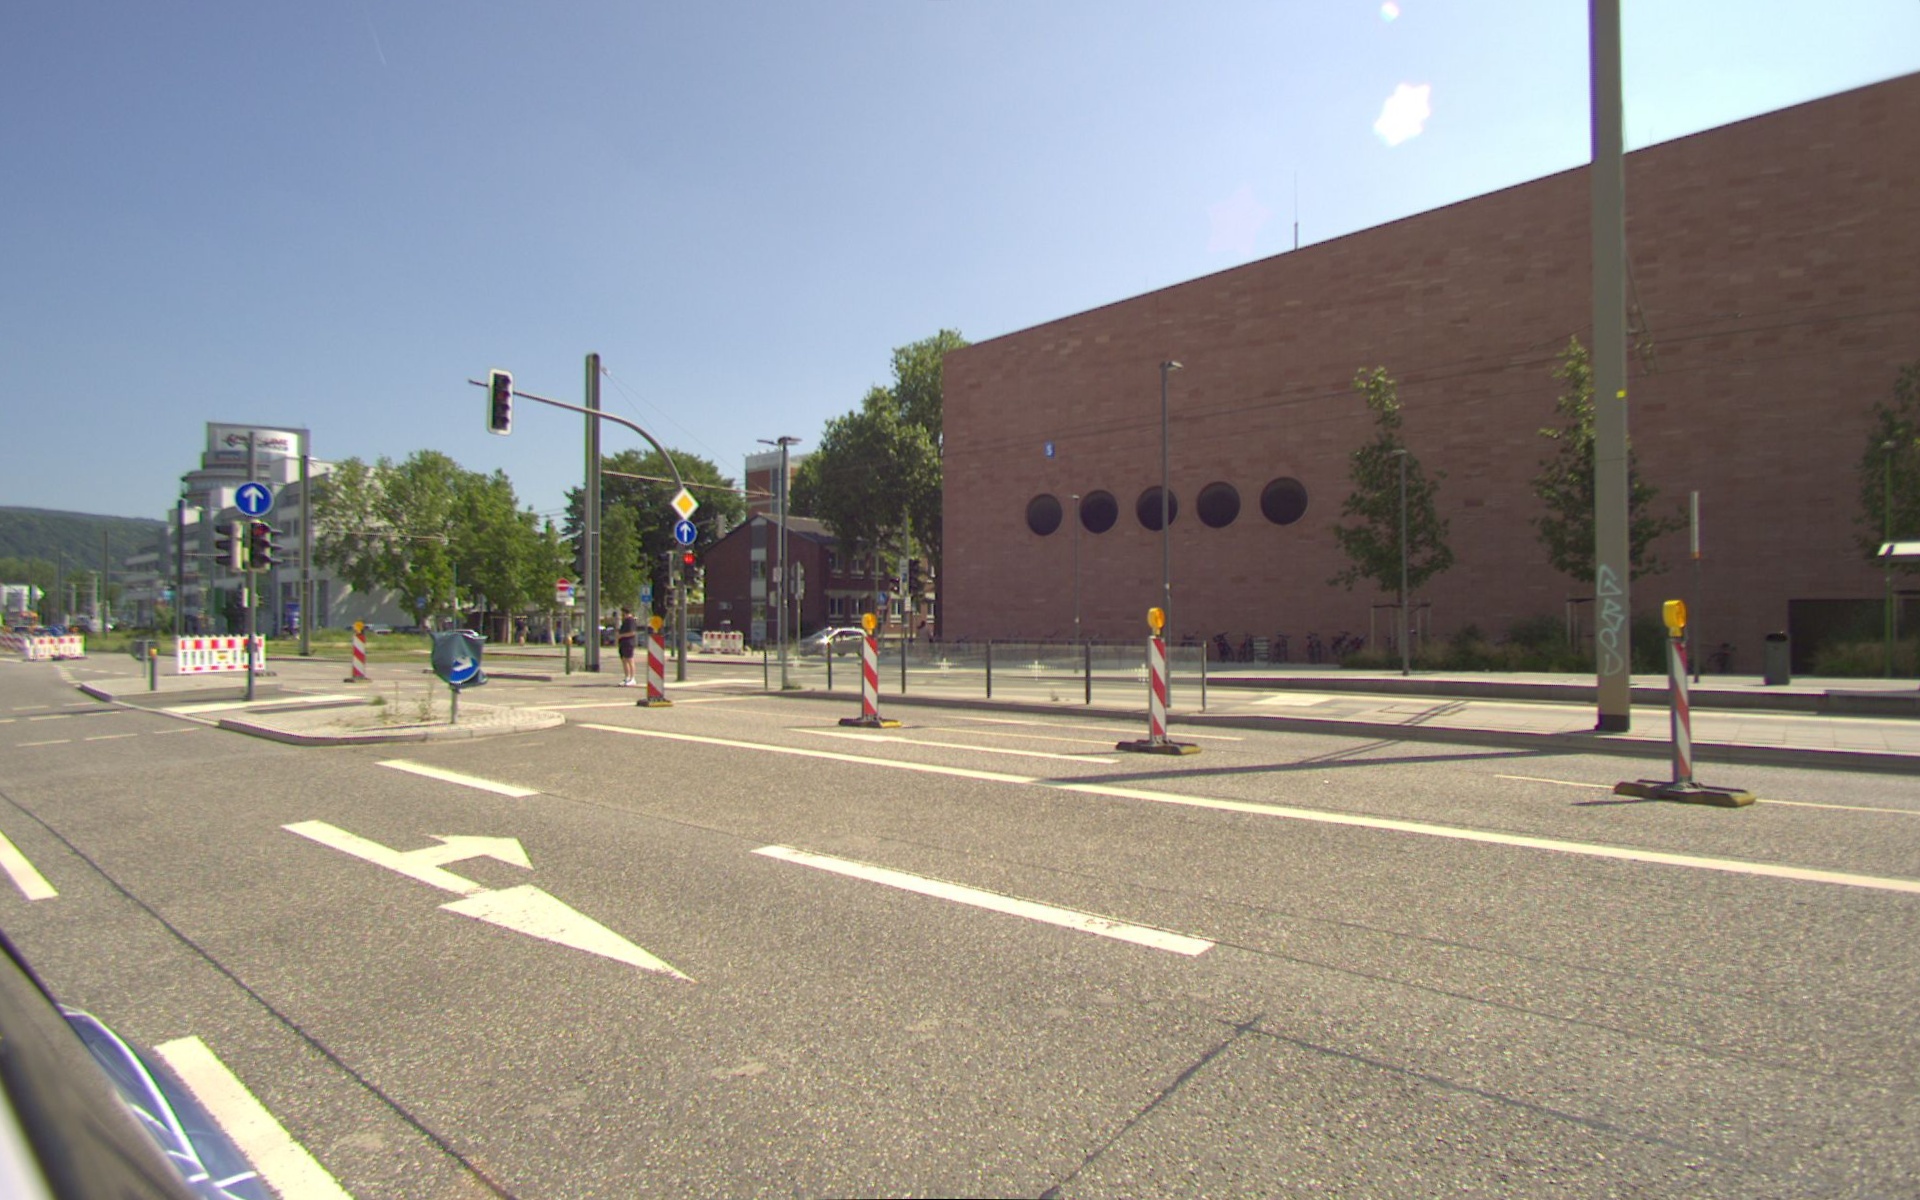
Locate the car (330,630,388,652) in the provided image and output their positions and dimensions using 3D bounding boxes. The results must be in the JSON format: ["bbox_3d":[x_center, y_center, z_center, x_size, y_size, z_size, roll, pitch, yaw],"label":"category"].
[{"bbox_3d":[-62.839,4.307,105.894,4.988,2.196,2.121,0,-1,-22],"label":"car"}]

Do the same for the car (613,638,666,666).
[{"bbox_3d":[-21.981,3.524,69.308,3.938,1.774,1.680,-1,0,42],"label":"car"}]

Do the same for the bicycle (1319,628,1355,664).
[{"bbox_3d":[13.251,1.605,35.555,0.745,1.221,1.868,-2,-1,34],"label":"bicycle"}]

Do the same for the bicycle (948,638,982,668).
[{"bbox_3d":[0.224,2.253,43.412,0.537,1.221,2.036,-1,-2,30],"label":"bicycle"}]

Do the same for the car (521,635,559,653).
[{"bbox_3d":[-39.987,4.190,96.341,3.630,1.603,1.752,-2,0,36],"label":"car"}]

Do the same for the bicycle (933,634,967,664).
[{"bbox_3d":[-0.420,2.105,43.816,0.537,1.221,2.036,-1,-2,30],"label":"bicycle"}]

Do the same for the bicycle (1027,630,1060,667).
[{"bbox_3d":[3.429,1.968,41.368,0.537,1.464,2.037,-2,-2,30],"label":"bicycle"}]

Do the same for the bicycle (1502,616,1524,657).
[{"bbox_3d":[17.523,1.139,32.064,0.537,1.221,2.037,-2,-1,30],"label":"bicycle"}]

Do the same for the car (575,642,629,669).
[{"bbox_3d":[-25.902,3.986,73.131,4.529,1.774,1.680,-1,0,41],"label":"car"}]

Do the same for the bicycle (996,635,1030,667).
[{"bbox_3d":[2.229,2.112,42.164,0.537,1.221,2.037,-2,-1,29],"label":"bicycle"}]

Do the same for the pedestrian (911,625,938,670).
[{"bbox_3d":[-1.277,1.719,36.663,0.784,1.574,0.930,-1,-1,8],"label":"pedestrian"}]

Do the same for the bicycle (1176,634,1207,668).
[{"bbox_3d":[8.787,1.924,38.380,0.537,1.221,2.037,-2,-1,30],"label":"bicycle"}]

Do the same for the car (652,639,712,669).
[{"bbox_3d":[-18.150,3.460,65.903,4.299,1.774,1.680,-1,0,41],"label":"car"}]

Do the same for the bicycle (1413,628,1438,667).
[{"bbox_3d":[15.663,1.584,34.045,0.537,1.221,2.037,-2,-1,30],"label":"bicycle"}]

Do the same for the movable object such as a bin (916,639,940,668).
[{"bbox_3d":[-1.183,1.987,37.493,0.784,1.039,0.713,-1,-1,8],"label":"movable object such as a bin"}]

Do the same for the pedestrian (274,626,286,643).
[{"bbox_3d":[-63.487,3.199,94.483,0.805,1.588,0.827,1,-2,-44],"label":"pedestrian"}]

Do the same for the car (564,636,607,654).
[{"bbox_3d":[-31.501,3.786,85.121,4.265,1.468,1.522,-2,-2,41],"label":"car"}]

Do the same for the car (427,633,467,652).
[{"bbox_3d":[-46.920,3.886,92.511,3.630,1.603,1.752,-2,0,36],"label":"car"}]

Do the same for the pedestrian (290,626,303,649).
[{"bbox_3d":[-59.881,3.352,91.331,0.983,2.029,0.830,-2,-1,44],"label":"pedestrian"}]

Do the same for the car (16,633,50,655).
[{"bbox_3d":[-66.420,3.147,72.514,1.609,1.438,4.292,1,-1,-45],"label":"car"}]

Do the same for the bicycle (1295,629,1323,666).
[{"bbox_3d":[12.182,1.630,35.286,0.537,1.221,2.037,-2,-1,30],"label":"bicycle"}]

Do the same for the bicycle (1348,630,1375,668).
[{"bbox_3d":[13.925,1.687,35.075,0.537,1.221,2.037,-2,-1,30],"label":"bicycle"}]

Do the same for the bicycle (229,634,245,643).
[{"bbox_3d":[-94.525,5.047,132.308,0.438,1.198,1.629,-2,0,41],"label":"bicycle"}]

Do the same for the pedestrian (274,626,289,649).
[{"bbox_3d":[-60.690,3.362,90.504,0.910,2.029,0.972,-2,-1,43],"label":"pedestrian"}]

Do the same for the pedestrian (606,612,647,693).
[{"bbox_3d":[-7.812,1.210,23.688,0.645,1.847,0.661,0,-1,-45],"label":"pedestrian"}]

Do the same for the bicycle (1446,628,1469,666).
[{"bbox_3d":[16.578,1.545,33.681,0.537,1.221,2.036,-2,-2,30],"label":"bicycle"}]

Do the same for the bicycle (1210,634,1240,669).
[{"bbox_3d":[9.889,1.893,37.761,0.537,1.221,2.037,-2,-1,30],"label":"bicycle"}]

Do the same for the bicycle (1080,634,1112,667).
[{"bbox_3d":[5.438,2.010,40.426,0.537,1.221,2.037,-2,-1,30],"label":"bicycle"}]

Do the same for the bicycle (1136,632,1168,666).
[{"bbox_3d":[7.427,1.889,39.108,0.537,1.221,2.037,-2,-1,30],"label":"bicycle"}]

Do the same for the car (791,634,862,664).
[{"bbox_3d":[-6.845,2.509,52.165,1.572,1.380,3.443,-2,-1,40],"label":"car"}]

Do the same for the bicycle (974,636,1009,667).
[{"bbox_3d":[1.329,2.168,42.511,0.537,1.221,2.037,-2,-1,30],"label":"bicycle"}]

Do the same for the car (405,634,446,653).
[{"bbox_3d":[-47.515,3.865,89.962,3.630,1.603,1.752,-2,0,36],"label":"car"}]

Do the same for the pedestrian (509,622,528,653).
[{"bbox_3d":[-27.682,2.343,63.474,0.802,1.861,1.108,0,-2,-43],"label":"pedestrian"}]
